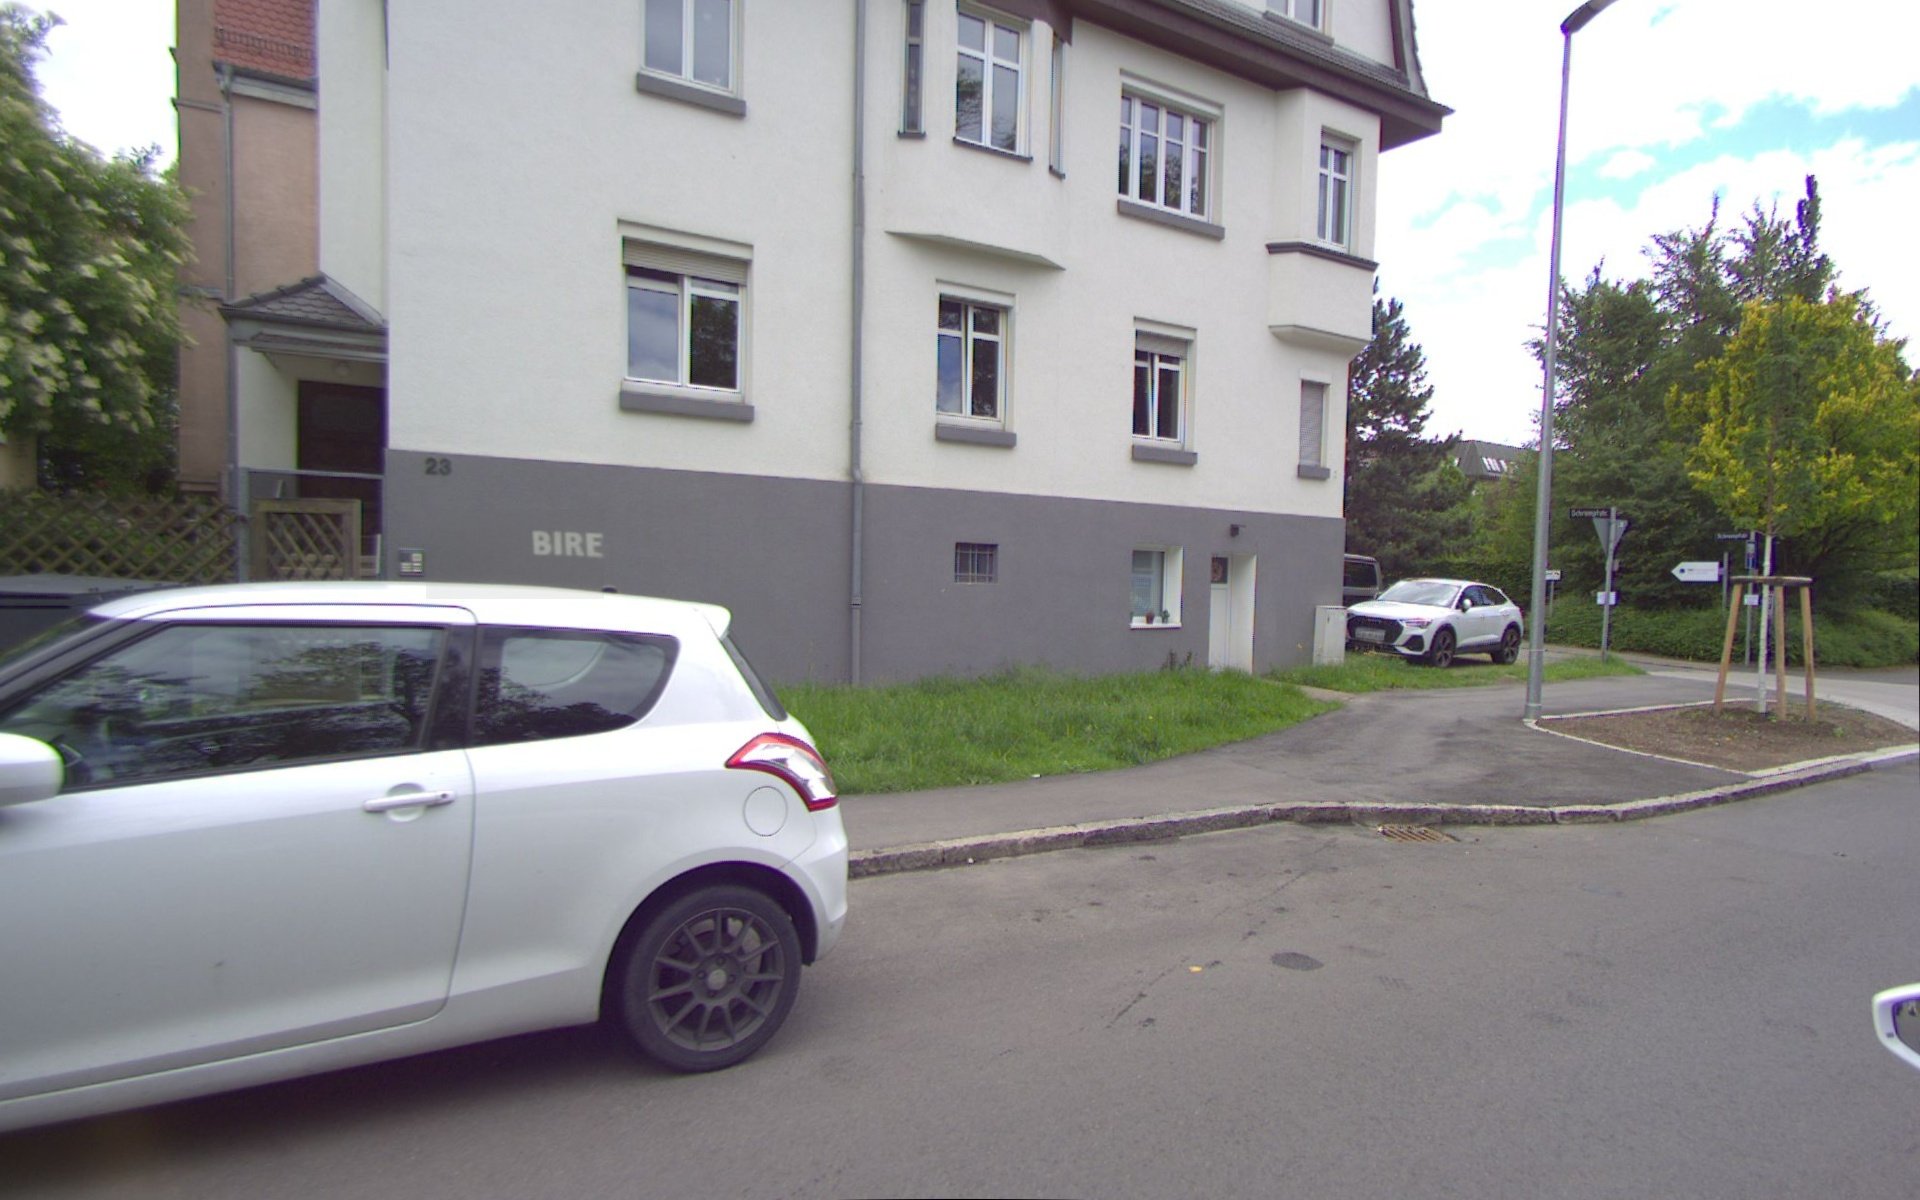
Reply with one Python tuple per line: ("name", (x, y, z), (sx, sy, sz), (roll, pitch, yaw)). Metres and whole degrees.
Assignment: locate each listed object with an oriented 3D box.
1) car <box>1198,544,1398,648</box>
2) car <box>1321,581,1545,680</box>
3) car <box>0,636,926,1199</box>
("car", (7.807, -0.042, 23.017), (4.721, 2.078, 1.891), (2, 3, -38))
("car", (9.052, 0.569, 19.091), (4.556, 1.553, 1.891), (2, 3, -38))
("car", (-2.253, 0.906, 3.113), (4.023, 1.489, 1.635), (0, 0, -30))
